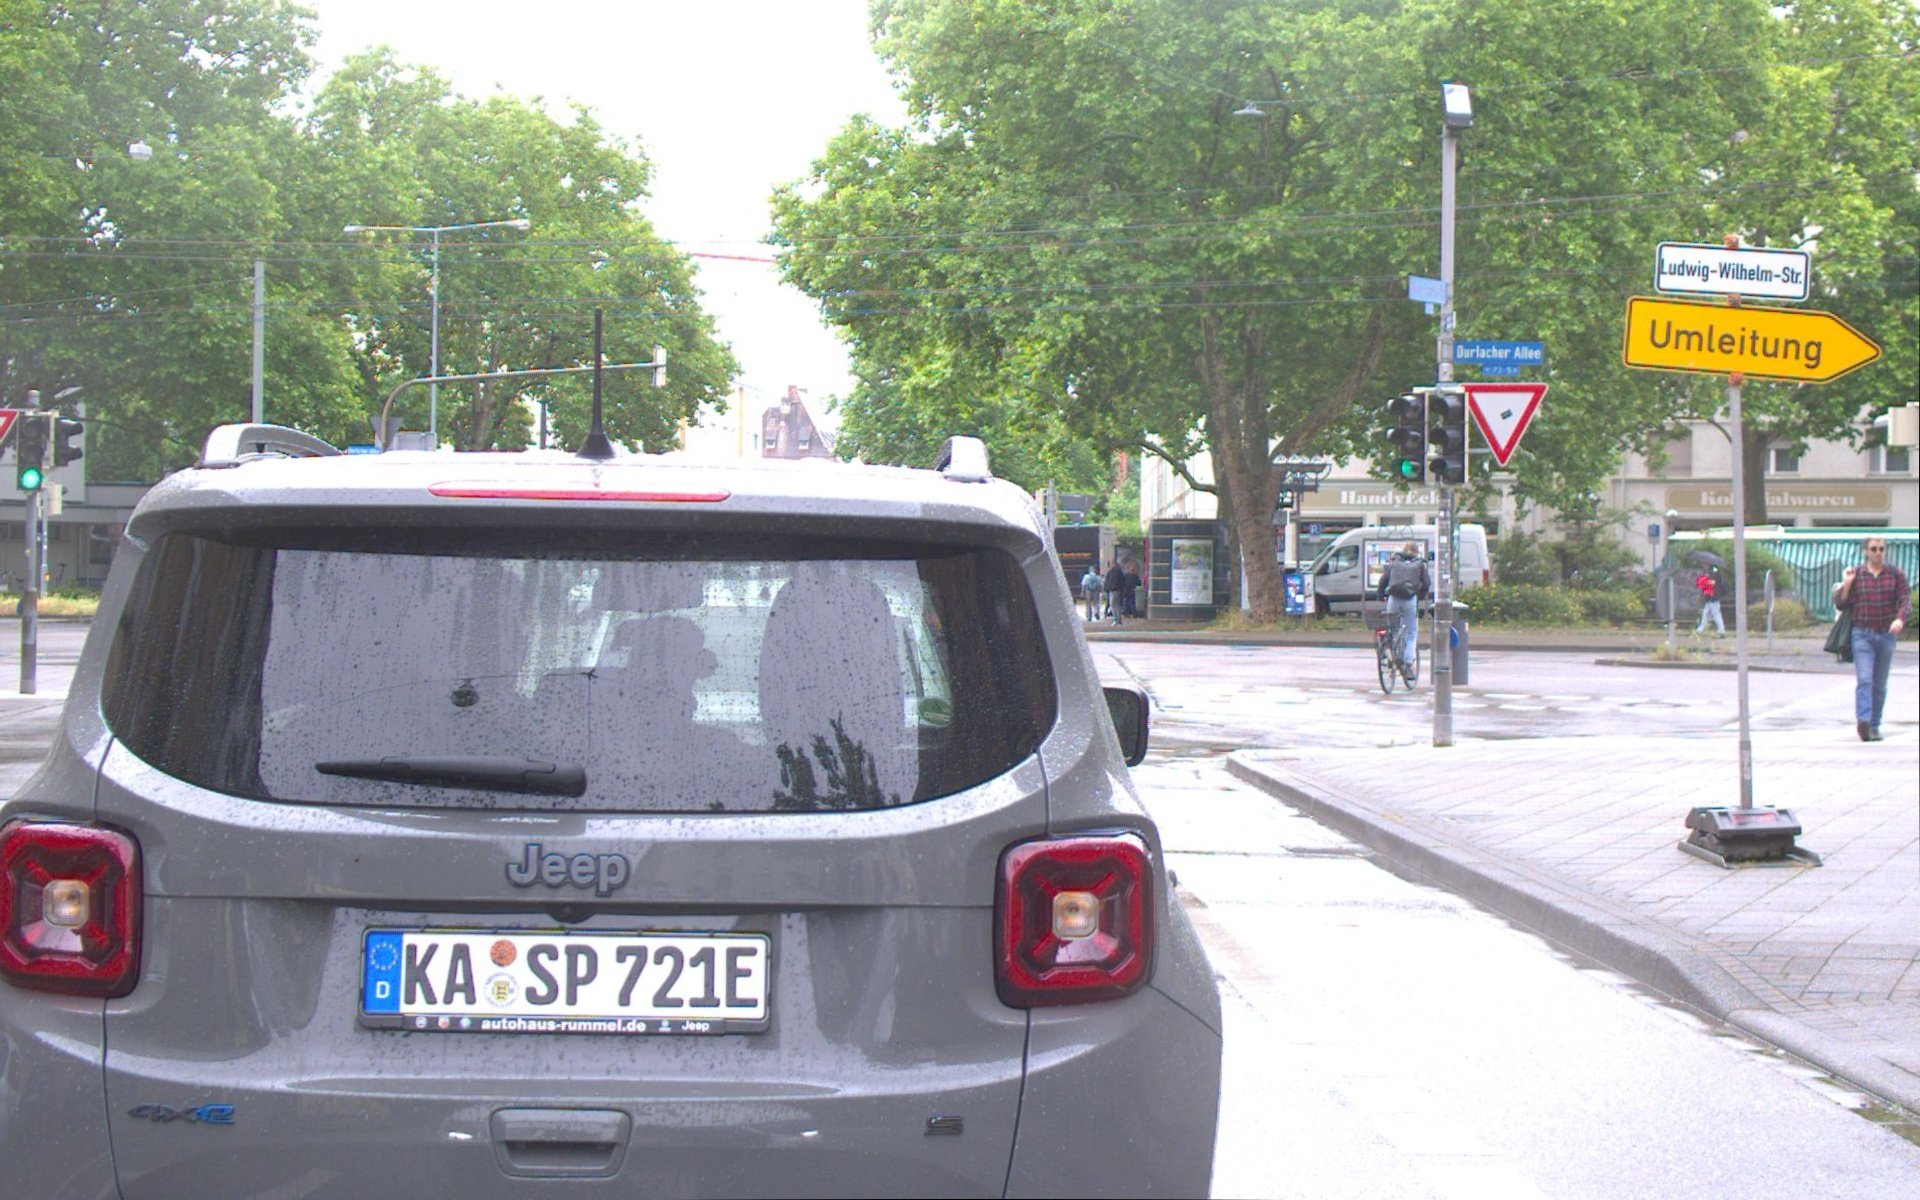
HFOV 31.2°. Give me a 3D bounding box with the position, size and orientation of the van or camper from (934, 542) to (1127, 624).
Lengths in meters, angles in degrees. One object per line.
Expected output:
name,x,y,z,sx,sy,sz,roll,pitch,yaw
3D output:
van or camper,2.549,-0.627,124.727,6.535,2.902,2.491,1,1,24

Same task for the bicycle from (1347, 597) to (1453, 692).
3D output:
bicycle,5.146,0.499,40.046,0.692,1.018,2.655,0,1,19

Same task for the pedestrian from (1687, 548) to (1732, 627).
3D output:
pedestrian,15.031,-0.248,68.926,0.674,1.548,0.760,1,-1,27

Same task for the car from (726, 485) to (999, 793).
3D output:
car,-0.675,0.226,24.473,1.770,2.007,4.000,0,1,-1

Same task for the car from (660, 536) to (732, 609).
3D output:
car,-6.454,-0.673,83.918,1.721,1.733,3.730,0,1,-5

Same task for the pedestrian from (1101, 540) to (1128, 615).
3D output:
pedestrian,4.160,-0.616,92.614,0.651,2.007,0.482,1,1,12

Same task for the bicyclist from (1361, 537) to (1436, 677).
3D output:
bicyclist,5.106,0.071,39.990,0.687,1.612,0.883,0,1,19

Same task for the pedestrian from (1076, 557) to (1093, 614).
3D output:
pedestrian,3.688,-0.432,101.922,0.458,1.698,0.424,0,1,0

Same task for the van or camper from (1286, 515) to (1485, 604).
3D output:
van or camper,11.702,-1.130,94.759,5.260,2.307,2.090,1,1,3

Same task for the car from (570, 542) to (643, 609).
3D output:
car,-9.072,-0.652,88.409,1.813,1.665,3.921,0,1,-5

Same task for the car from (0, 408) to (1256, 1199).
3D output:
car,-0.582,0.582,6.127,1.775,1.681,3.848,-1,1,-2

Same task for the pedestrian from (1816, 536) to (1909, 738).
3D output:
pedestrian,7.981,0.314,30.436,0.786,1.753,0.945,0,1,14
